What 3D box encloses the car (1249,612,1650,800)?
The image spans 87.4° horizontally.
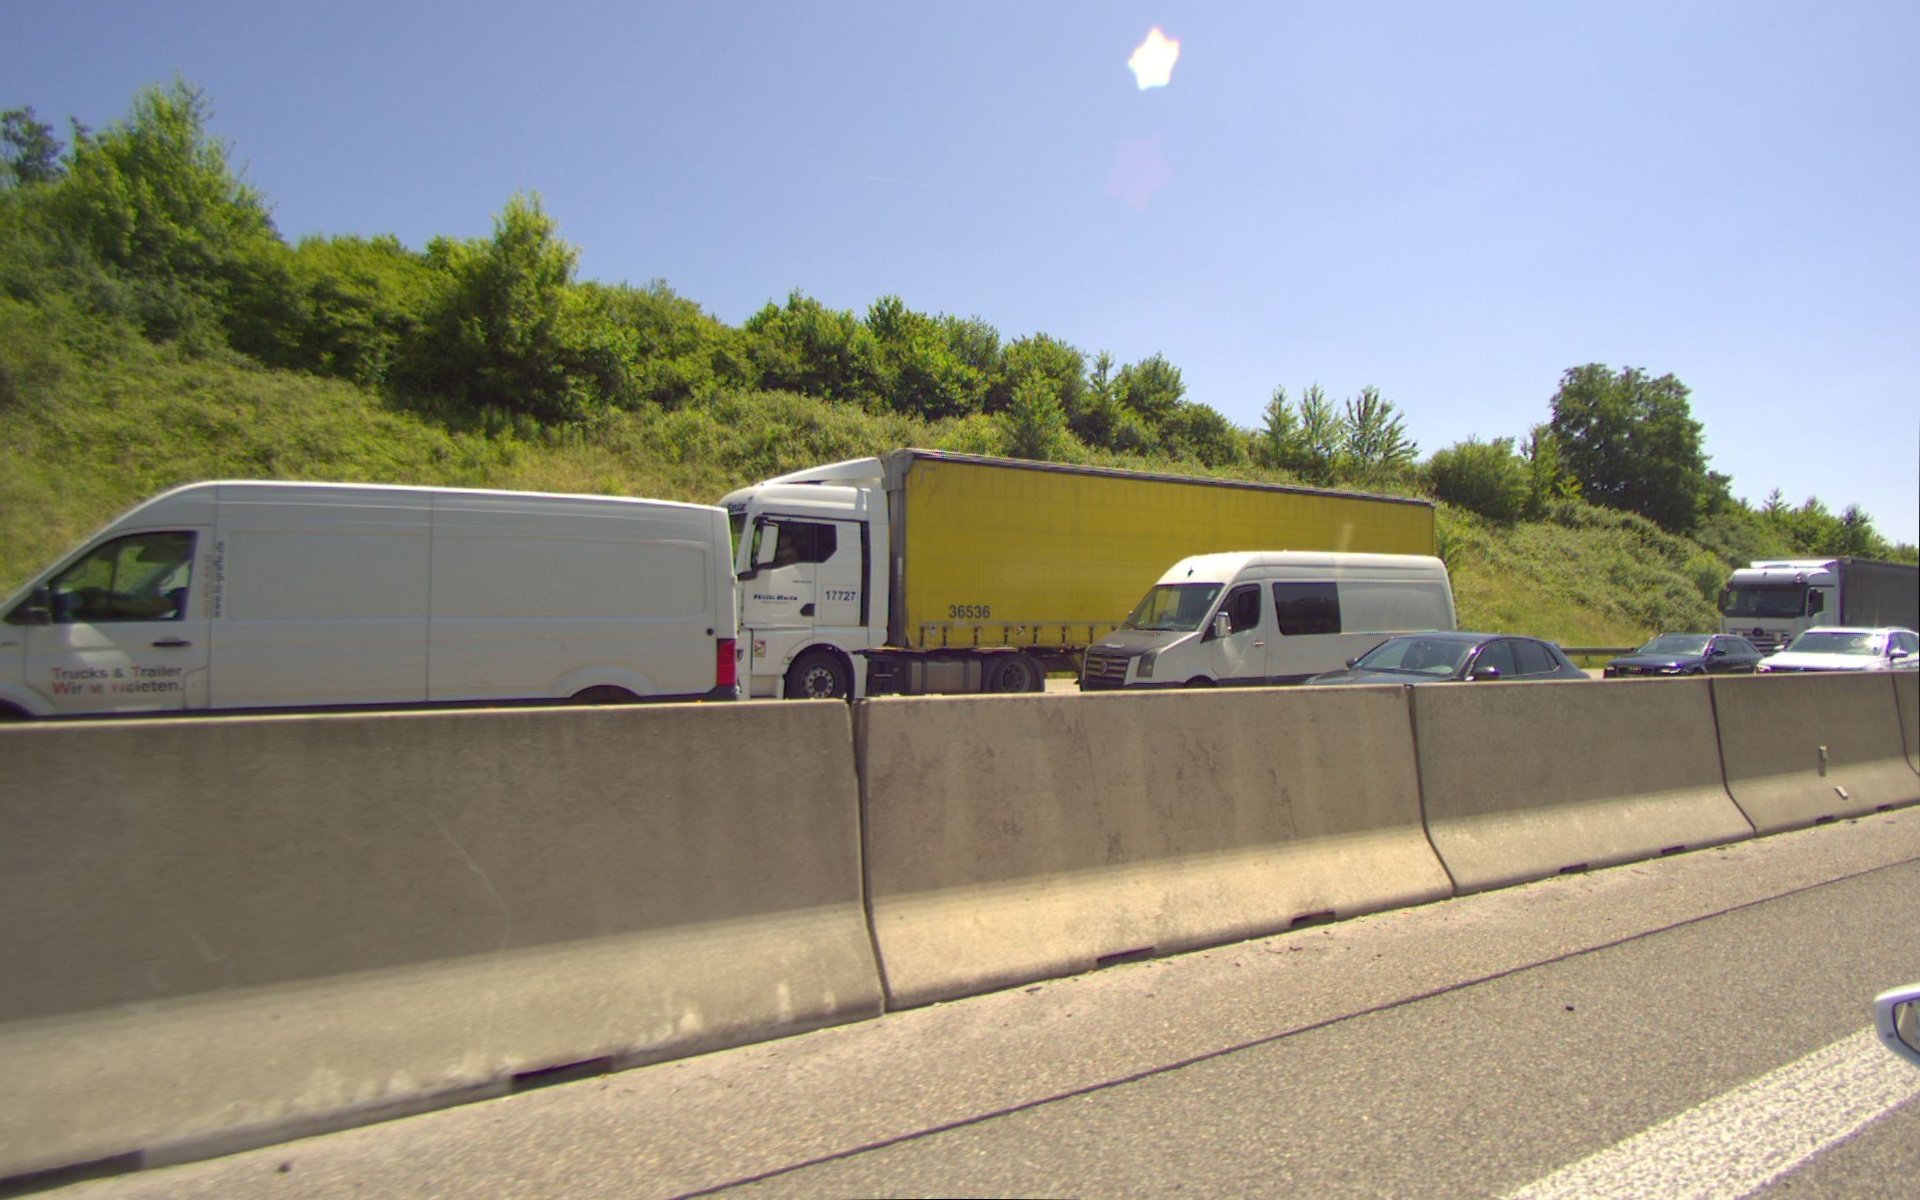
[{"bbox_3d":[5.835,1.115,11.768,4.934,1.788,1.818,2,-1,-31],"label":"car"}]

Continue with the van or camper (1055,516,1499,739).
[{"bbox_3d":[5.265,0.486,16.133,7.441,2.978,2.188,2,0,-28],"label":"van or camper"}]

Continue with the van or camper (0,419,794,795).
[{"bbox_3d":[-5.322,0.132,9.393,7.108,2.812,2.248,2,0,-20],"label":"van or camper"}]

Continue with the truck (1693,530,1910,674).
[{"bbox_3d":[29.775,0.191,35.436,8.500,4.575,2.930,2,0,-29],"label":"truck"}]

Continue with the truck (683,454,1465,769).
[{"bbox_3d":[3.242,0.419,20.097,16.475,4.515,3.680,2,0,-30],"label":"truck"}]

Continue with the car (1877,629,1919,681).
[{"bbox_3d":[29.843,1.700,30.602,4.431,1.475,1.587,2,-1,-31],"label":"car"}]

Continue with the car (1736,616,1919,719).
[{"bbox_3d":[17.479,1.283,19.774,4.934,1.788,1.818,2,-1,-31],"label":"car"}]

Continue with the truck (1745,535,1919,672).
[{"bbox_3d":[35.225,0.336,38.452,13.754,4.603,2.982,2,0,-29],"label":"truck"}]

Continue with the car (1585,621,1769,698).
[{"bbox_3d":[16.591,1.350,23.208,4.472,1.585,1.818,2,-1,-31],"label":"car"}]
